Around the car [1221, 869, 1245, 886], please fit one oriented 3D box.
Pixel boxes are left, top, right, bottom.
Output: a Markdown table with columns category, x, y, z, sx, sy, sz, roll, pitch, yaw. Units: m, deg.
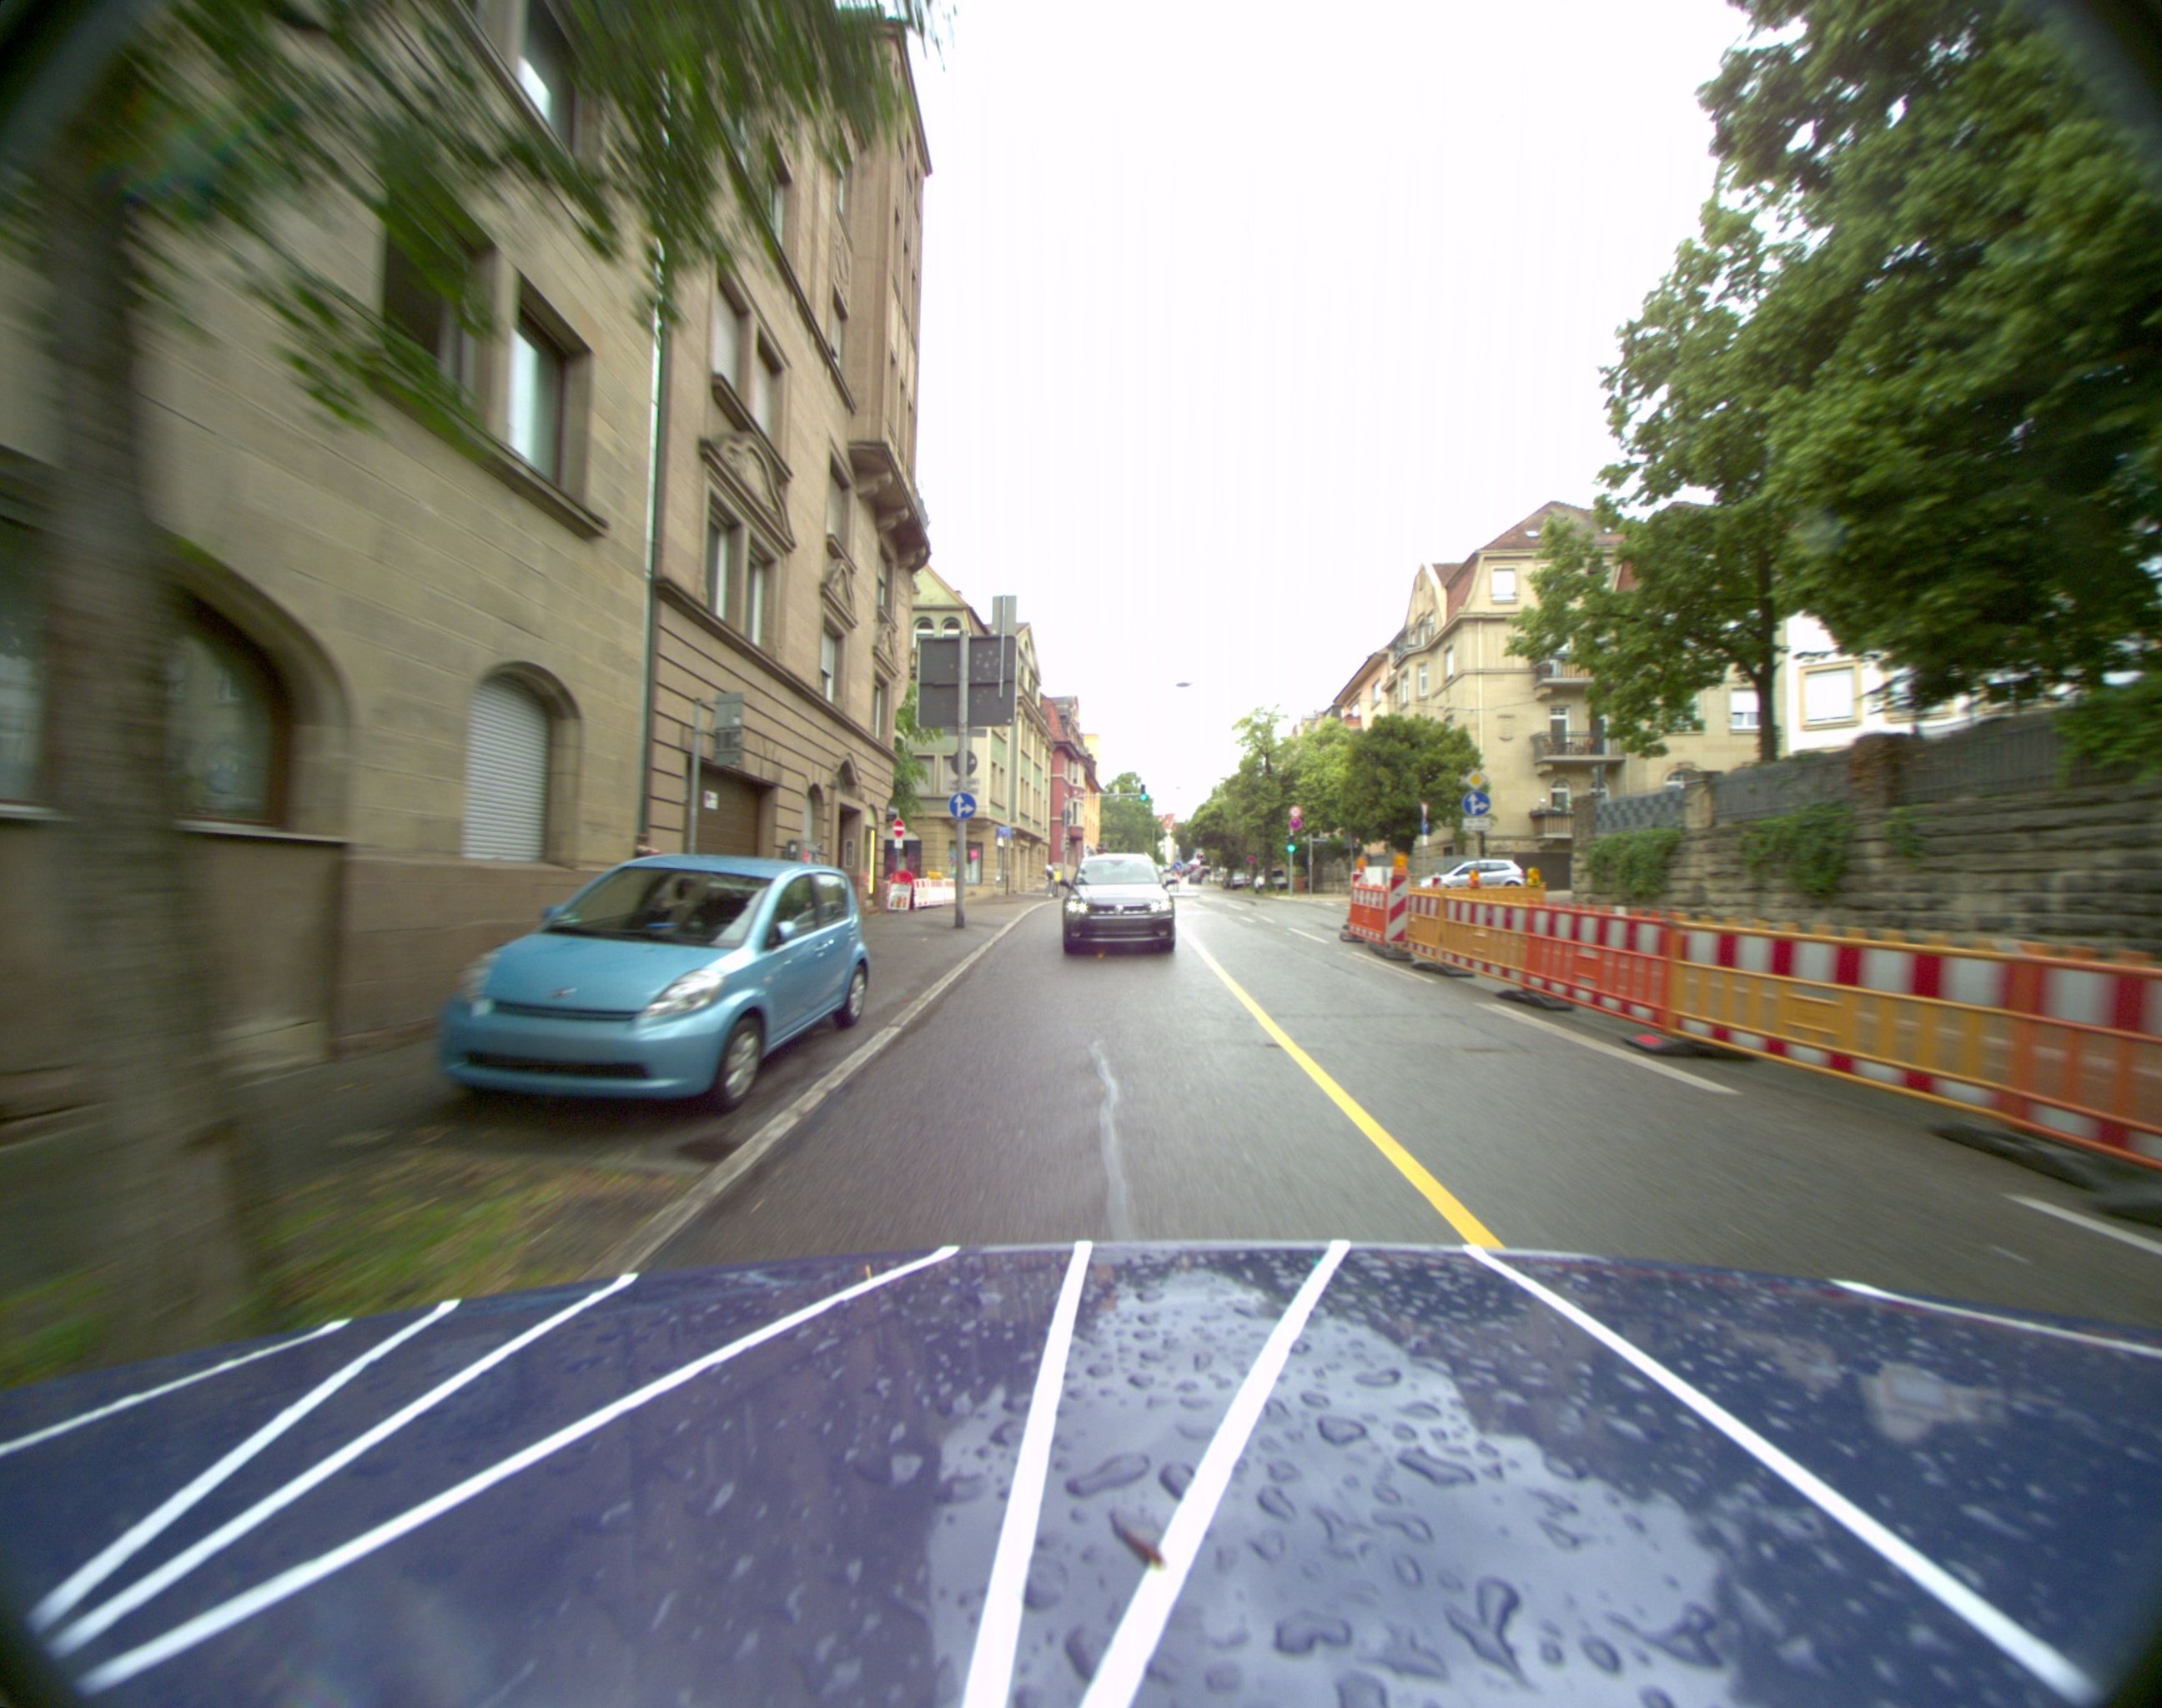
| category | x | y | z | sx | sy | sz | roll | pitch | yaw |
| --- | --- | --- | --- | --- | --- | --- | --- | --- | --- |
| car | 15.533 | 2.388 | 77.817 | 1.745 | 1.550 | 4.304 | -3 | -1 | 4 |

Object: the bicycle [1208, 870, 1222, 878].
| category | x | y | z | sx | sy | sz | roll | pitch | yaw |
| --- | --- | --- | --- | --- | --- | --- | --- | --- | --- |
| bicycle | 20.280 | 3.064 | 114.899 | 1.979 | 1.228 | 0.658 | 0 | 0 | 7 |

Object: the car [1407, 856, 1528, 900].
| category | x | y | z | sx | sy | sz | roll | pitch | yaw |
| --- | --- | --- | --- | --- | --- | --- | --- | --- | --- |
| car | 15.131 | 0.943 | 29.966 | 3.869 | 1.401 | 1.827 | -4 | 1 | 12 |

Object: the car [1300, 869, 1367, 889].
| category | x | y | z | sx | sy | sz | roll | pitch | yaw |
| --- | --- | --- | --- | --- | --- | --- | --- | --- | --- |
| car | 16.977 | 1.665 | 51.295 | 3.995 | 1.318 | 1.838 | 0 | -1 | 6 |

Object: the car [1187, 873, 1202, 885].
| category | x | y | z | sx | sy | sz | roll | pitch | yaw |
| --- | --- | --- | --- | --- | --- | --- | --- | --- | --- |
| car | 15.956 | 3.483 | 106.631 | 1.818 | 1.507 | 4.554 | 1 | -3 | 10 |

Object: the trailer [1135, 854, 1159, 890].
| category | x | y | z | sx | sy | sz | roll | pitch | yaw |
| --- | --- | --- | --- | --- | --- | --- | --- | --- | --- |
| trailer | 5.786 | 1.570 | 66.337 | 1.966 | 3.023 | 2.366 | -2 | 0 | 4 |

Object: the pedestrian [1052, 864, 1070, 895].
| category | x | y | z | sx | sy | sz | roll | pitch | yaw |
| --- | --- | --- | --- | --- | --- | --- | --- | --- | --- |
| pedestrian | -1.035 | 1.302 | 38.854 | 0.600 | 1.575 | 0.663 | 3 | -1 | -38 |

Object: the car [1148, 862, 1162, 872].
| category | x | y | z | sx | sy | sz | roll | pitch | yaw |
| --- | --- | --- | --- | --- | --- | --- | --- | --- | --- |
| car | 14.273 | 2.443 | 146.566 | 1.970 | 1.642 | 4.820 | 3 | 1 | 12 |

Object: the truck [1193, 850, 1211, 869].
| category | x | y | z | sx | sy | sz | roll | pitch | yaw |
| --- | --- | --- | --- | --- | --- | --- | --- | --- | --- |
| truck | 24.475 | 1.157 | 154.471 | 2.653 | 3.832 | 9.310 | 2 | 0 | 4 |

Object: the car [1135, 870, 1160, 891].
| category | x | y | z | sx | sy | sz | roll | pitch | yaw |
| --- | --- | --- | --- | --- | --- | --- | --- | --- | --- |
| car | 5.500 | 2.187 | 63.187 | 1.924 | 1.641 | 4.136 | -2 | -1 | 5 |

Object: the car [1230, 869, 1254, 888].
| category | x | y | z | sx | sy | sz | roll | pitch | yaw |
| --- | --- | --- | --- | --- | --- | --- | --- | --- | --- |
| car | 14.678 | 2.190 | 69.470 | 1.745 | 1.550 | 4.305 | -2 | 0 | 7 |

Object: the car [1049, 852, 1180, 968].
| category | x | y | z | sx | sy | sz | roll | pitch | yaw |
| --- | --- | --- | --- | --- | --- | --- | --- | --- | --- |
| car | 0.673 | 0.851 | 13.487 | 1.859 | 1.641 | 5.197 | 0 | -1 | 4 |

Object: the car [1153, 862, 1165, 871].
| category | x | y | z | sx | sy | sz | roll | pitch | yaw |
| --- | --- | --- | --- | --- | --- | --- | --- | --- | --- |
| car | 15.711 | 2.521 | 152.332 | 1.923 | 1.552 | 4.015 | 3 | 1 | 11 |

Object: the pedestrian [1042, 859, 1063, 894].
| category | x | y | z | sx | sy | sz | roll | pitch | yaw |
| --- | --- | --- | --- | --- | --- | --- | --- | --- | --- |
| pedestrian | -1.440 | 1.132 | 38.113 | 0.663 | 1.763 | 0.722 | 1 | -1 | 41 |

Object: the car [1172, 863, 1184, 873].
| category | x | y | z | sx | sy | sz | roll | pitch | yaw |
| --- | --- | --- | --- | --- | --- | --- | --- | --- | --- |
| car | 15.998 | 2.252 | 124.908 | 1.775 | 1.508 | 4.103 | 0 | 0 | 10 |

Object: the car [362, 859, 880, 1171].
| category | x | y | z | sx | sy | sz | roll | pitch | yaw |
| --- | --- | --- | --- | --- | --- | --- | --- | --- | --- |
| car | -2.866 | 0.846 | 5.761 | 1.661 | 1.534 | 3.665 | 2 | 0 | 0 |

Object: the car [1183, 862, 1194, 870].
| category | x | y | z | sx | sy | sz | roll | pitch | yaw |
| --- | --- | --- | --- | --- | --- | --- | --- | --- | --- |
| car | 20.831 | 2.263 | 147.356 | 1.714 | 1.471 | 4.118 | 2 | 0 | 13 |

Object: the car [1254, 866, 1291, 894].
| category | x | y | z | sx | sy | sz | roll | pitch | yaw |
| --- | --- | --- | --- | --- | --- | --- | --- | --- | --- |
| car | 12.069 | 1.617 | 48.129 | 1.745 | 1.550 | 4.305 | -2 | 0 | 7 |

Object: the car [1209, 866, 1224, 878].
| category | x | y | z | sx | sy | sz | roll | pitch | yaw |
| --- | --- | --- | --- | --- | --- | --- | --- | --- | --- |
| car | 20.019 | 2.669 | 112.004 | 1.745 | 1.550 | 4.304 | -2 | 0 | 5 |
